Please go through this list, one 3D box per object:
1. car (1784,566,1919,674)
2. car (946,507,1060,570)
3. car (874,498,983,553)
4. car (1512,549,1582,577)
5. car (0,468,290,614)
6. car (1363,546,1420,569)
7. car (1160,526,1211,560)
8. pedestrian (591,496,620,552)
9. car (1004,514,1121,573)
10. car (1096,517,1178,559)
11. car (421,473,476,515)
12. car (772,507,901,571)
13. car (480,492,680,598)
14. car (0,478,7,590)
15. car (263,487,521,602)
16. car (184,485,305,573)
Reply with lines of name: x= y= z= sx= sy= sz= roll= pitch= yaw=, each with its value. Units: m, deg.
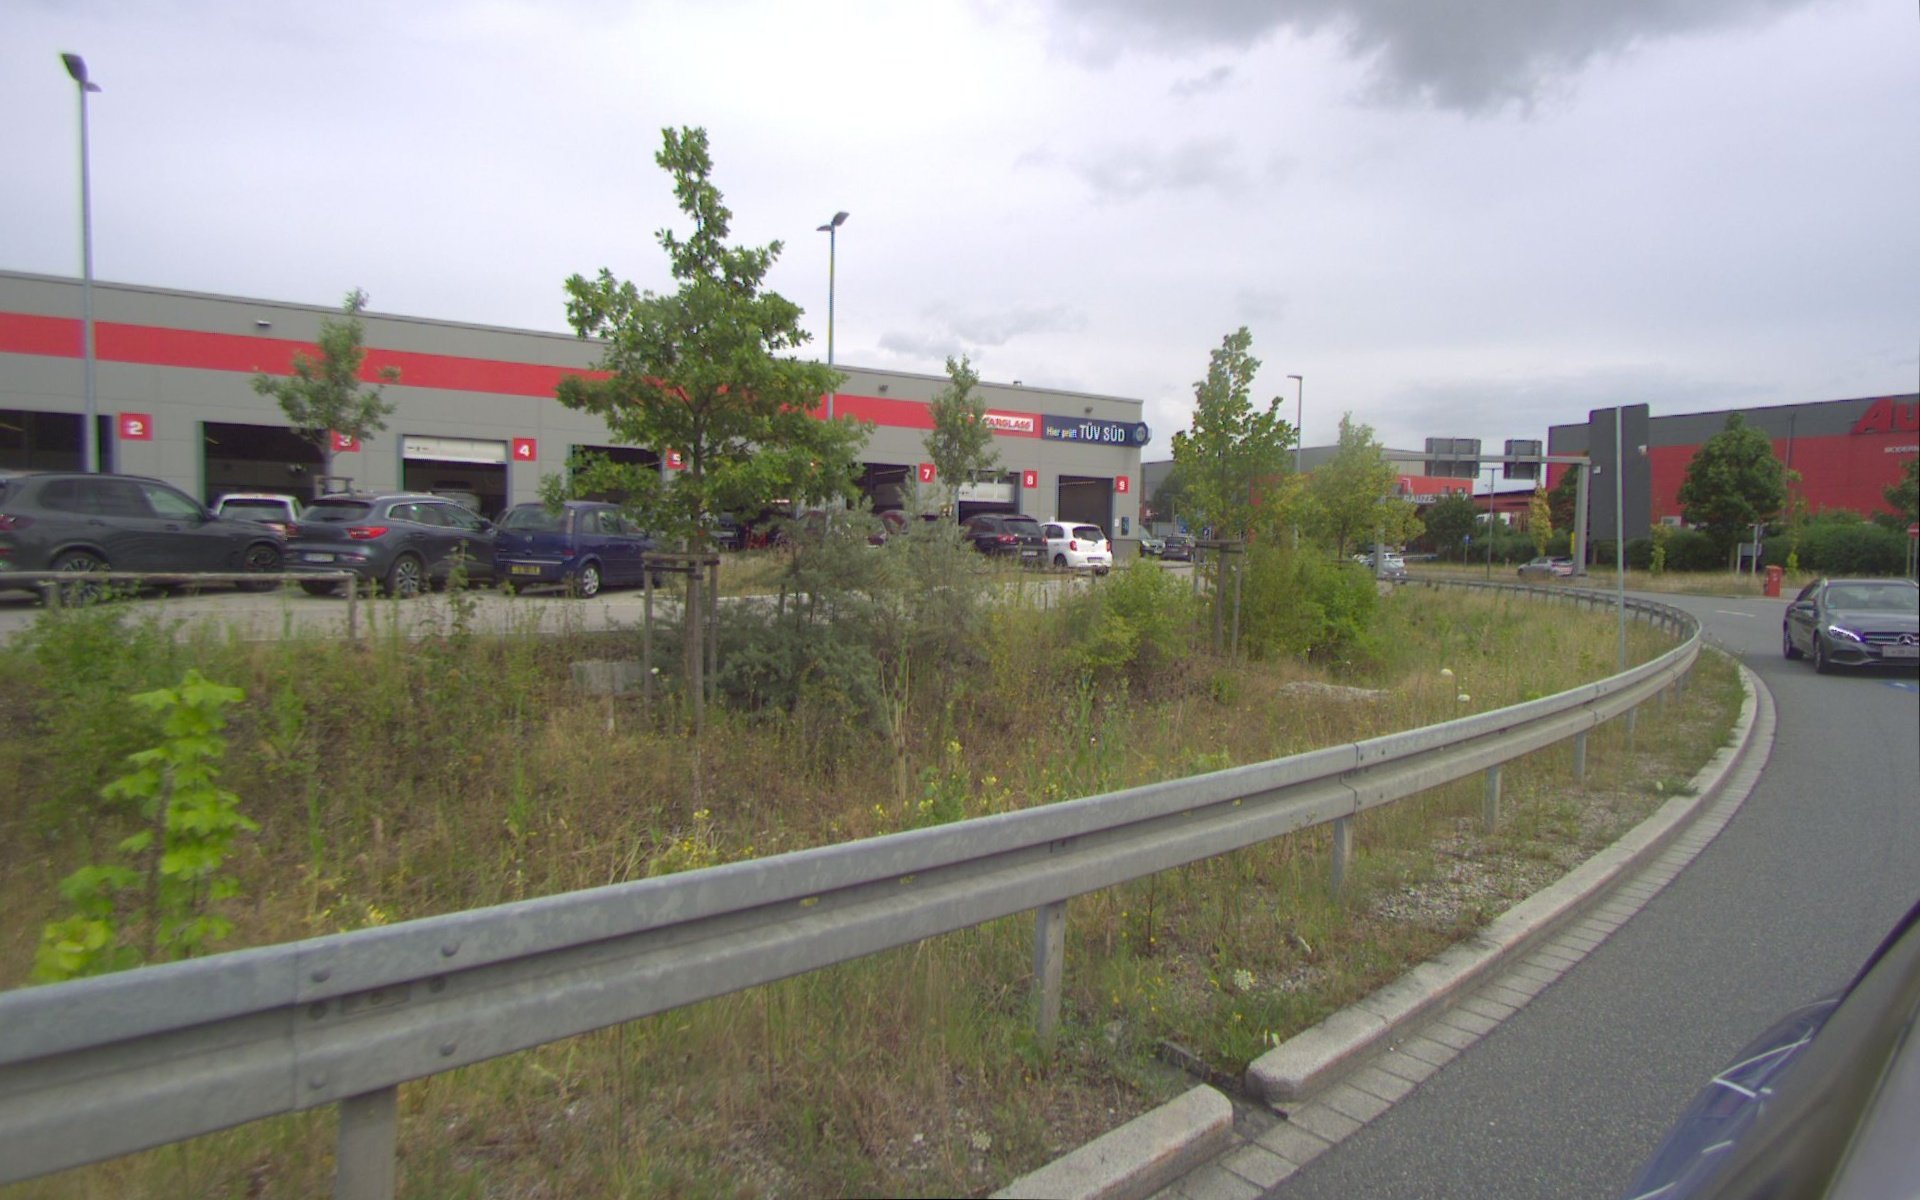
car: x=14.836 y=0.229 z=16.338 sx=1.893 sy=1.515 sz=4.289 roll=0 pitch=2 yaw=33
car: x=1.154 y=-1.716 z=28.673 sx=1.696 sy=1.655 sz=3.452 roll=-1 pitch=3 yaw=-28
car: x=-0.918 y=-1.991 z=27.520 sx=1.610 sy=1.350 sz=3.452 roll=-1 pitch=3 yaw=-28
car: x=36.168 y=-2.293 z=62.479 sx=1.434 sy=1.503 sz=4.103 roll=-5 pitch=3 yaw=-8
car: x=-12.131 y=-0.927 z=14.404 sx=1.801 sy=1.754 sz=4.545 roll=3 pitch=5 yaw=7
car: x=33.576 y=-3.271 z=78.852 sx=1.685 sy=1.654 sz=4.277 roll=-3 pitch=2 yaw=-16
car: x=13.332 y=-3.367 z=59.688 sx=1.789 sy=1.803 sz=4.128 roll=0 pitch=5 yaw=30
pedestrian: x=-11.381 y=-2.416 z=32.494 sx=0.628 sy=1.763 sz=0.665 roll=3 pitch=3 yaw=43
car: x=2.979 y=-1.717 z=30.123 sx=1.611 sy=1.556 sz=3.636 roll=0 pitch=5 yaw=-29
car: x=8.516 y=-3.008 z=49.016 sx=1.671 sy=1.833 sz=3.977 roll=2 pitch=2 yaw=-30
car: x=-17.765 y=-3.629 z=35.128 sx=1.627 sy=1.240 sz=3.920 roll=-1 pitch=3 yaw=-27
car: x=-3.288 y=-1.575 z=26.359 sx=1.645 sy=1.556 sz=3.886 roll=-1 pitch=3 yaw=-36
car: x=-6.663 y=-1.034 z=18.179 sx=1.642 sy=1.657 sz=3.756 roll=2 pitch=5 yaw=11
car: x=-15.005 y=-0.857 z=13.183 sx=1.619 sy=1.649 sz=3.710 roll=2 pitch=5 yaw=1
car: x=-9.234 y=-0.980 z=16.832 sx=1.731 sy=1.626 sz=3.800 roll=3 pitch=5 yaw=10
car: x=-14.226 y=-1.469 z=20.303 sx=1.563 sy=1.578 sz=3.778 roll=0 pitch=5 yaw=-29
